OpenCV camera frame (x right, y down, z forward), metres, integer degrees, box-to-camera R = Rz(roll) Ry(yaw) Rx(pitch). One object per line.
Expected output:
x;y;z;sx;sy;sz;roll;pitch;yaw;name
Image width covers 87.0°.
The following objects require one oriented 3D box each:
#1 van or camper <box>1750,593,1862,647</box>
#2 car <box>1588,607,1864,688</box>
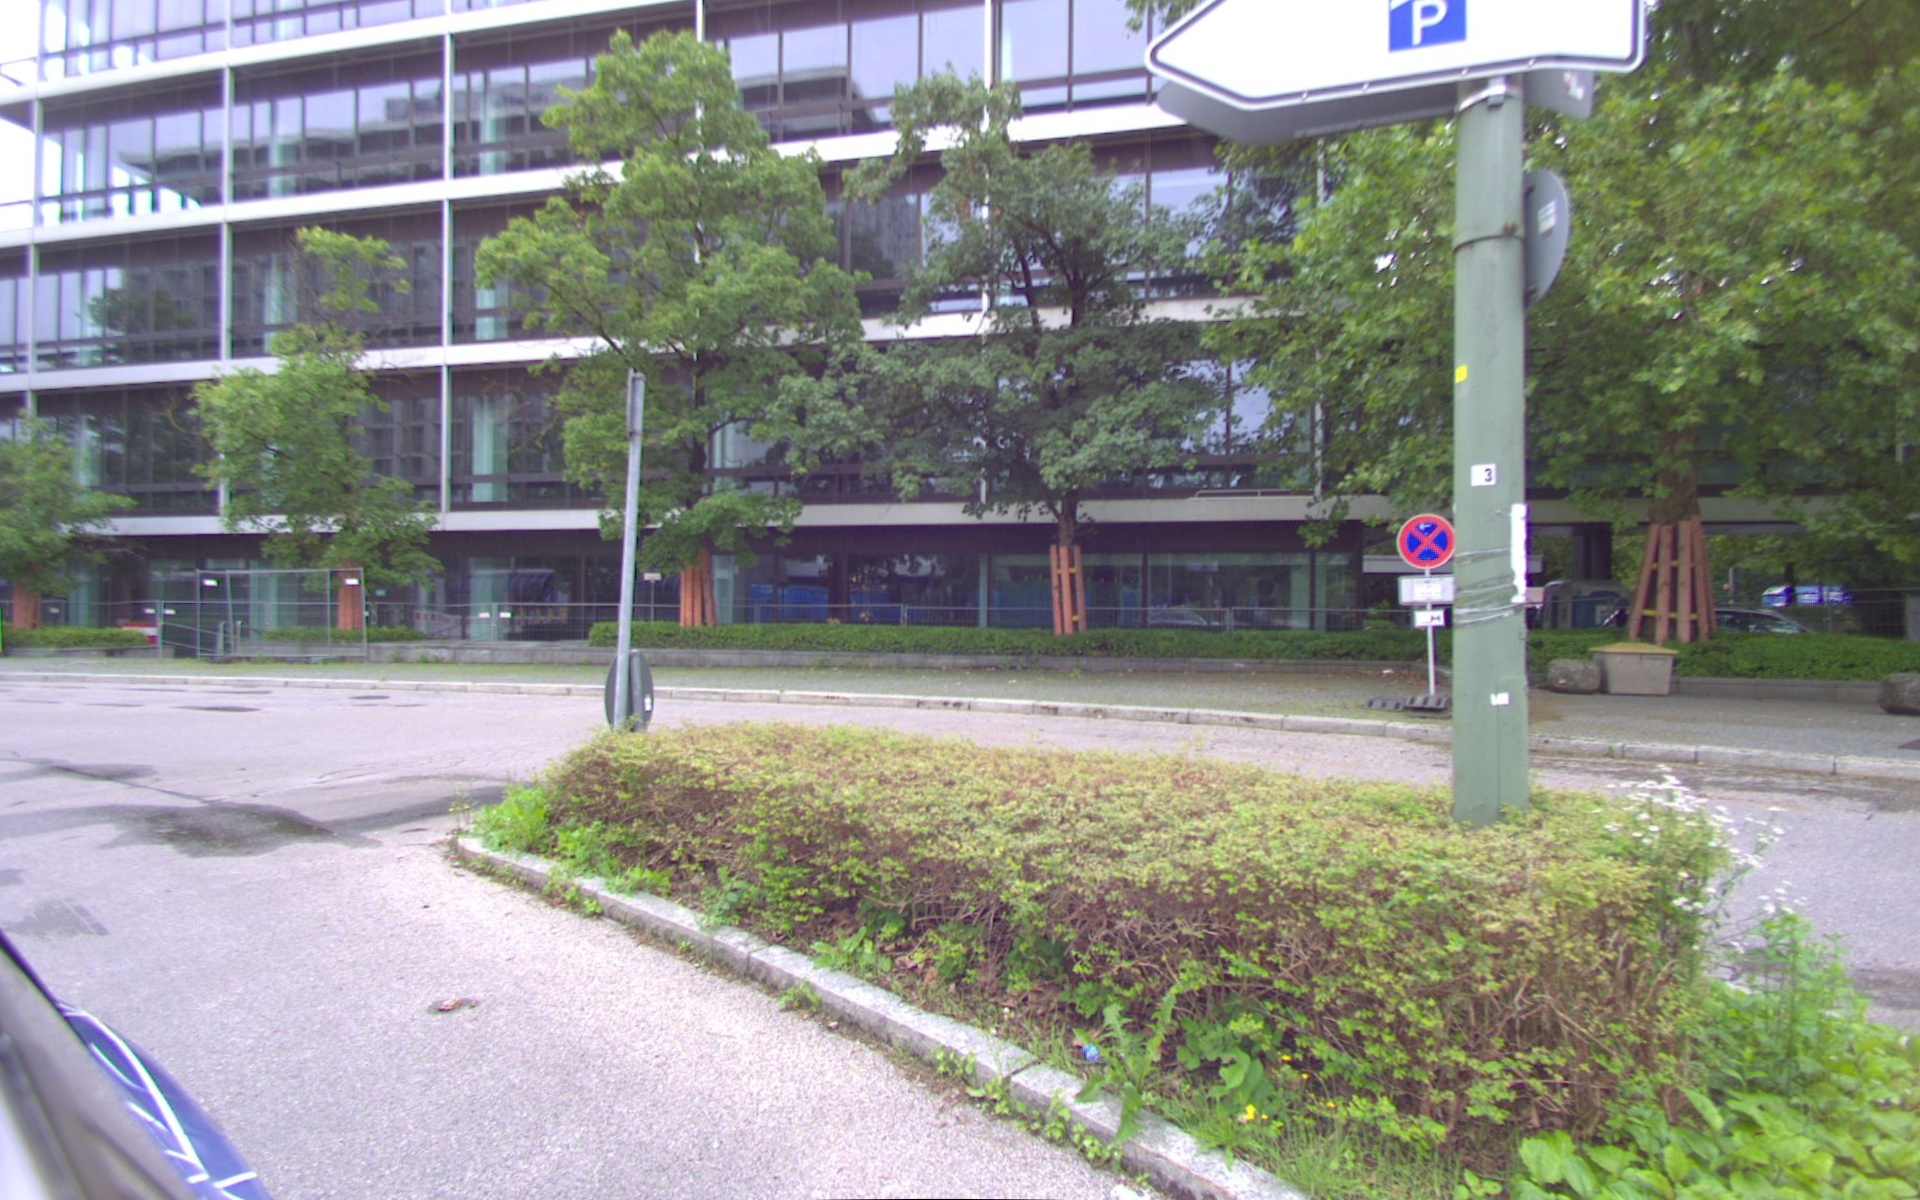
43.004;1.027;51.632;2.252;2.615;4.638;0;-1;9;van or camper
14.819;0.885;19.841;3.825;1.484;1.903;0;-1;15;car
